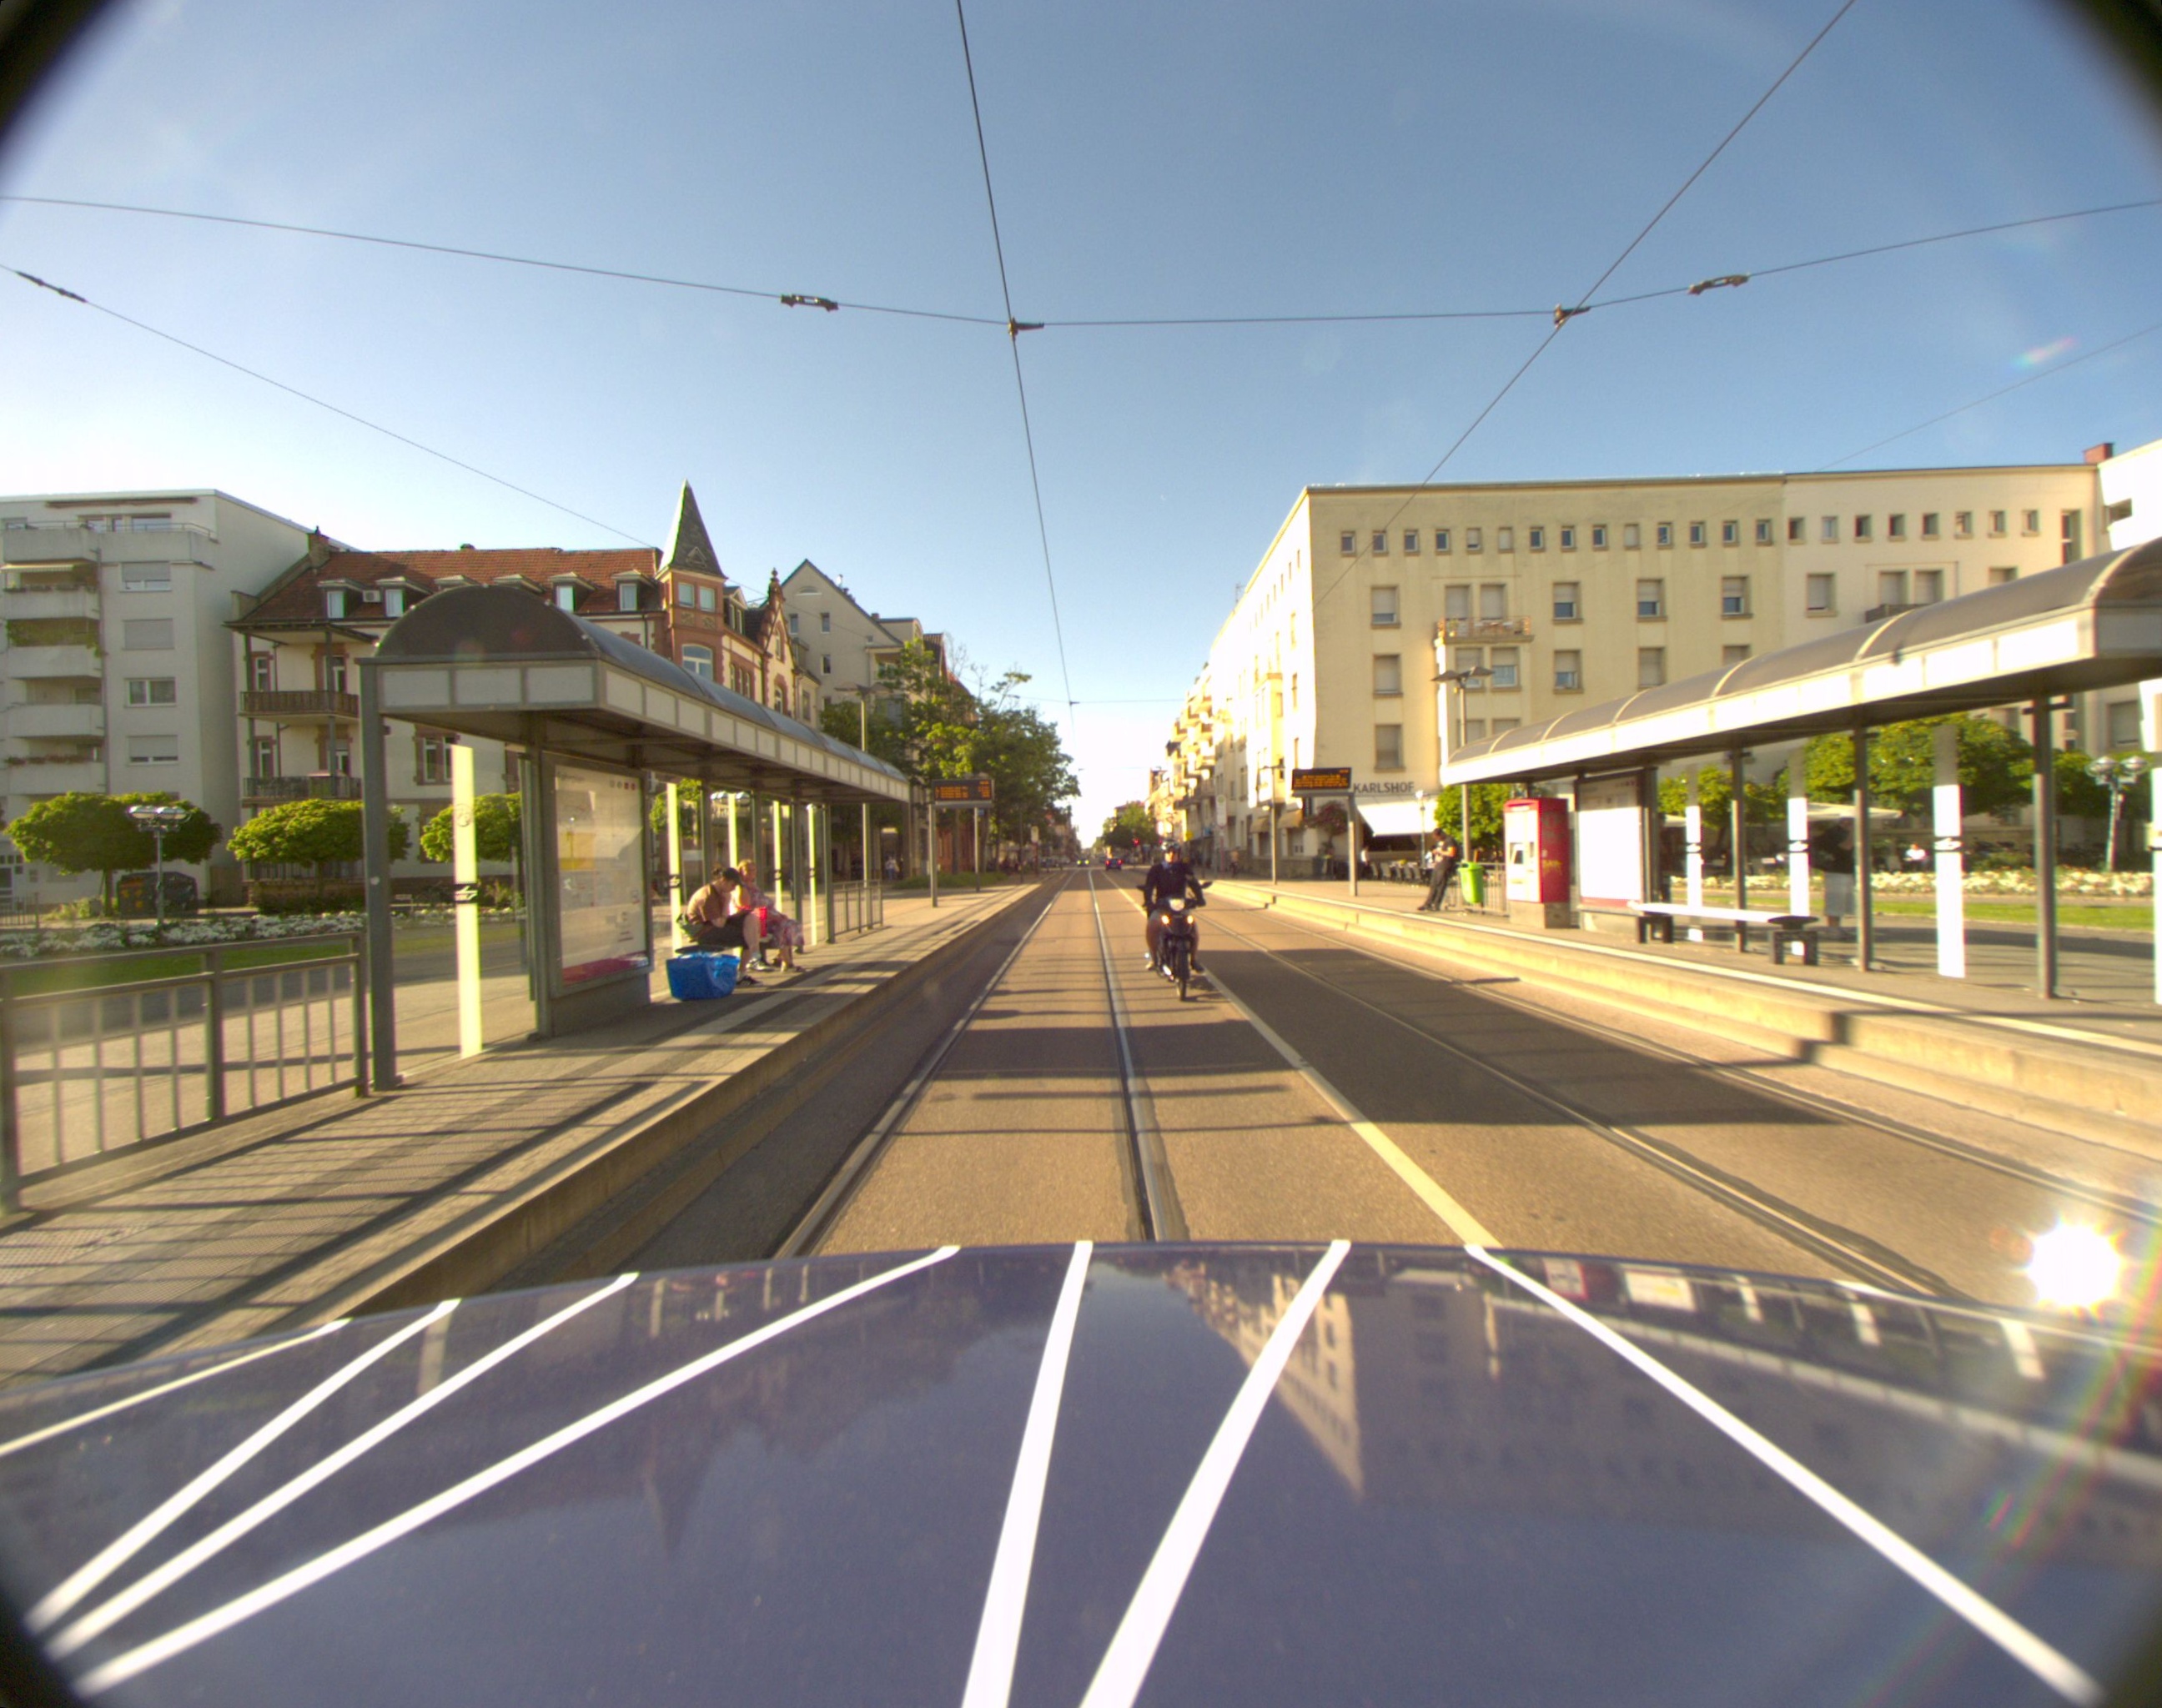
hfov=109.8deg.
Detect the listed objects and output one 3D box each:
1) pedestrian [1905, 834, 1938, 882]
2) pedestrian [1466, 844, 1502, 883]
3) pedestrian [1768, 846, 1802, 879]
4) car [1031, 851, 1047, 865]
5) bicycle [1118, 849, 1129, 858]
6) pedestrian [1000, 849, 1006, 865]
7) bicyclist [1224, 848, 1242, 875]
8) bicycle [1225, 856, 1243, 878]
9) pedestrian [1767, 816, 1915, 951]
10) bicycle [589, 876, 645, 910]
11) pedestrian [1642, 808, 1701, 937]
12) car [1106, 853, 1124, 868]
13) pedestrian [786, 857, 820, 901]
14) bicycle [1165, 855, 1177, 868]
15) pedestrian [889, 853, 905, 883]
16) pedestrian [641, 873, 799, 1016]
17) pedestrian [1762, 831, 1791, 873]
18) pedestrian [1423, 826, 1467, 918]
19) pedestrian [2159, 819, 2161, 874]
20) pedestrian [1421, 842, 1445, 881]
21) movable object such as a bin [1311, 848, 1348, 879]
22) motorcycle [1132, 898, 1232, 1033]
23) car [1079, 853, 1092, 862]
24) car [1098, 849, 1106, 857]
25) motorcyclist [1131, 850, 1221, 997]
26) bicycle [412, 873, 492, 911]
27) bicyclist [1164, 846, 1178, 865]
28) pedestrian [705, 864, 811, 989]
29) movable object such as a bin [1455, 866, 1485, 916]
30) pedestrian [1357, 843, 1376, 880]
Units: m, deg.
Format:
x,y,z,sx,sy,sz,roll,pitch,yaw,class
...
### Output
x,y,z,sx,sy,sz,roll,pitch,yaw,class
30.505,0.156,27.587,0.675,1.726,0.718,1,-3,-39,pedestrian
16.860,0.402,31.820,1.066,1.634,0.757,0,-2,-4,pedestrian
27.242,0.324,29.404,0.644,1.262,0.674,0,-2,-4,pedestrian
-6.568,0.621,120.406,1.998,2.002,4.001,-1,0,4,car
8.145,-0.097,146.130,1.228,1.719,3.104,-1,0,-11,bicycle
-9.516,0.340,92.478,0.653,2.002,0.559,-1,1,3,pedestrian
8.483,0.391,42.378,0.829,1.447,0.877,-2,1,5,bicyclist
8.503,0.707,42.341,0.729,1.107,1.977,-2,1,5,bicycle
9.917,0.368,9.968,0.995,1.670,0.975,-1,1,10,pedestrian
-17.853,1.480,29.323,0.790,1.062,2.804,-2,2,-8,bicycle
8.652,0.264,11.146,0.429,1.848,0.526,1,1,4,pedestrian
3.651,0.695,81.779,1.671,1.479,3.999,-2,0,0,car
-10.852,0.974,29.706,1.070,1.659,0.956,-2,1,-12,pedestrian
8.376,0.678,70.602,0.713,1.119,2.035,-1,0,-3,bicycle
-10.935,0.828,45.226,0.742,1.725,0.877,-2,1,-6,pedestrian
-3.497,0.849,7.456,1.001,1.218,0.923,-4,1,1,pedestrian
29.873,-0.074,32.657,0.675,1.726,0.683,1,-2,-26,pedestrian
6.989,0.336,14.596,0.550,1.708,0.607,1,1,3,pedestrian
35.216,-0.261,23.993,1.178,1.777,1.080,-2,1,-20,pedestrian
15.068,0.344,32.535,0.678,1.634,0.672,2,-3,-41,pedestrian
11.447,0.421,35.027,1.318,1.392,1.128,-1,1,0,movable object such as a bin
1.021,1.106,8.271,0.799,1.090,2.429,-1,0,1,motorcycle
0.714,0.538,122.314,1.998,1.318,3.863,-1,0,1,car
5.309,-0.259,193.438,1.877,2.105,4.000,-2,1,2,car
0.996,0.695,8.199,0.821,1.466,1.114,-1,1,1,motorcyclist
-25.570,1.524,30.966,0.746,1.364,2.915,-1,0,1,bicycle
8.342,0.123,70.557,1.006,1.783,1.095,-1,1,-4,bicyclist
-3.747,0.824,8.866,0.861,1.327,0.623,-4,1,1,pedestrian
6.977,0.658,13.631,0.337,0.855,0.416,-1,1,4,movable object such as a bin
12.837,0.352,34.197,0.672,1.634,0.752,-1,-2,28,pedestrian
